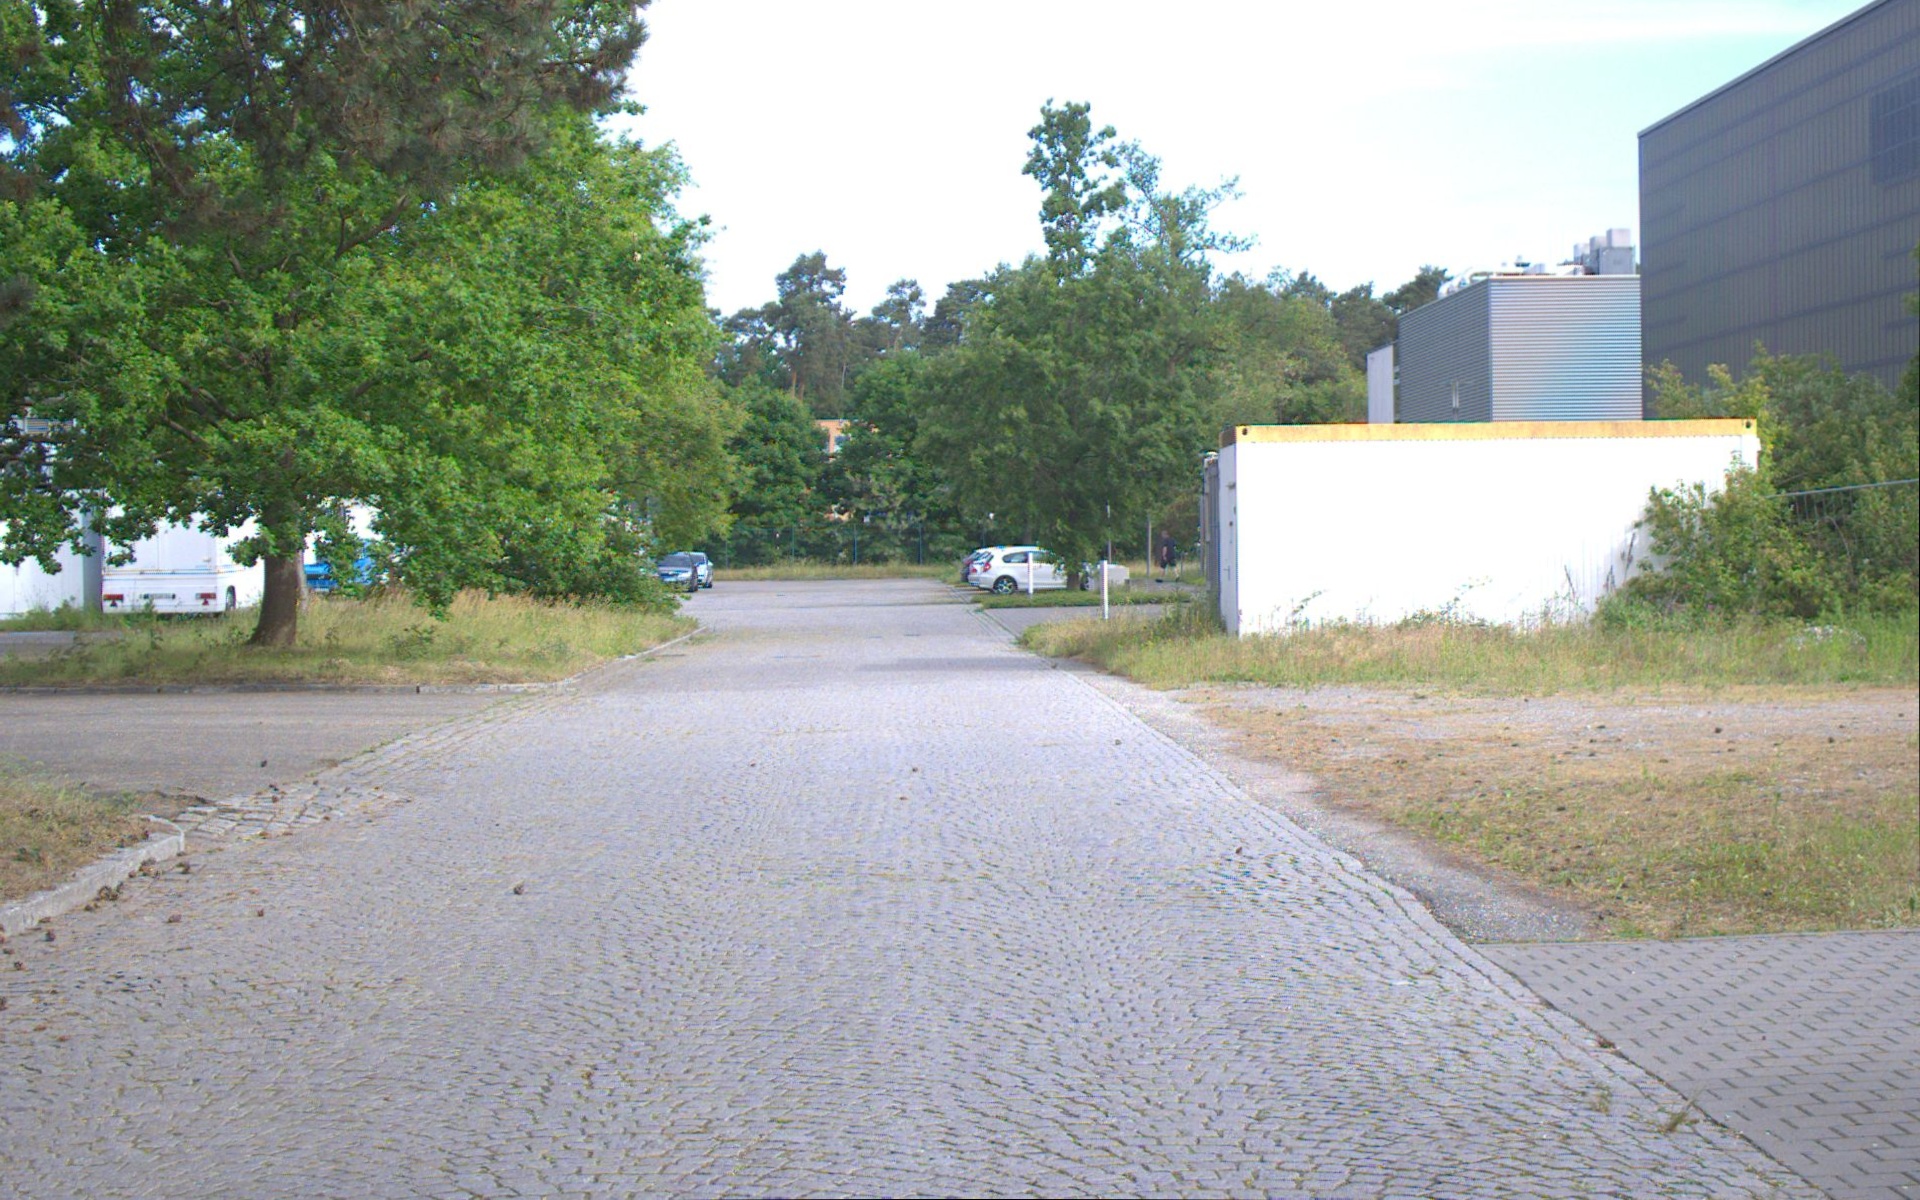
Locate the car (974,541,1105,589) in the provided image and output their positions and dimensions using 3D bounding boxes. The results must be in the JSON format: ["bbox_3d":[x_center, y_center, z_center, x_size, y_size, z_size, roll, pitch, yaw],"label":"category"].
[{"bbox_3d":[2.450,-1.077,106.658,3.987,1.450,2.000,0,0,-1],"label":"car"}]

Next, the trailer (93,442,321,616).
[{"bbox_3d":[-17.127,-1.608,78.999,2.656,3.693,10.721,-1,1,1],"label":"trailer"}]

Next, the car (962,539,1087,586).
[{"bbox_3d":[2.078,-1.213,111.861,3.987,1.450,1.770,-1,1,-1],"label":"car"}]

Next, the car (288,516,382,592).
[{"bbox_3d":[-21.520,-1.591,118.624,1.993,2.515,5.617,-1,1,2],"label":"car"}]

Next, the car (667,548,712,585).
[{"bbox_3d":[-11.064,-1.376,140.636,1.748,1.449,4.001,-1,1,-4],"label":"car"}]

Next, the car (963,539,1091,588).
[{"bbox_3d":[2.098,-1.160,108.821,3.987,1.450,1.697,-1,1,-1],"label":"car"}]

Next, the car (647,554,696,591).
[{"bbox_3d":[-10.917,-1.065,130.408,1.748,1.359,4.001,-1,1,-4],"label":"car"}]
